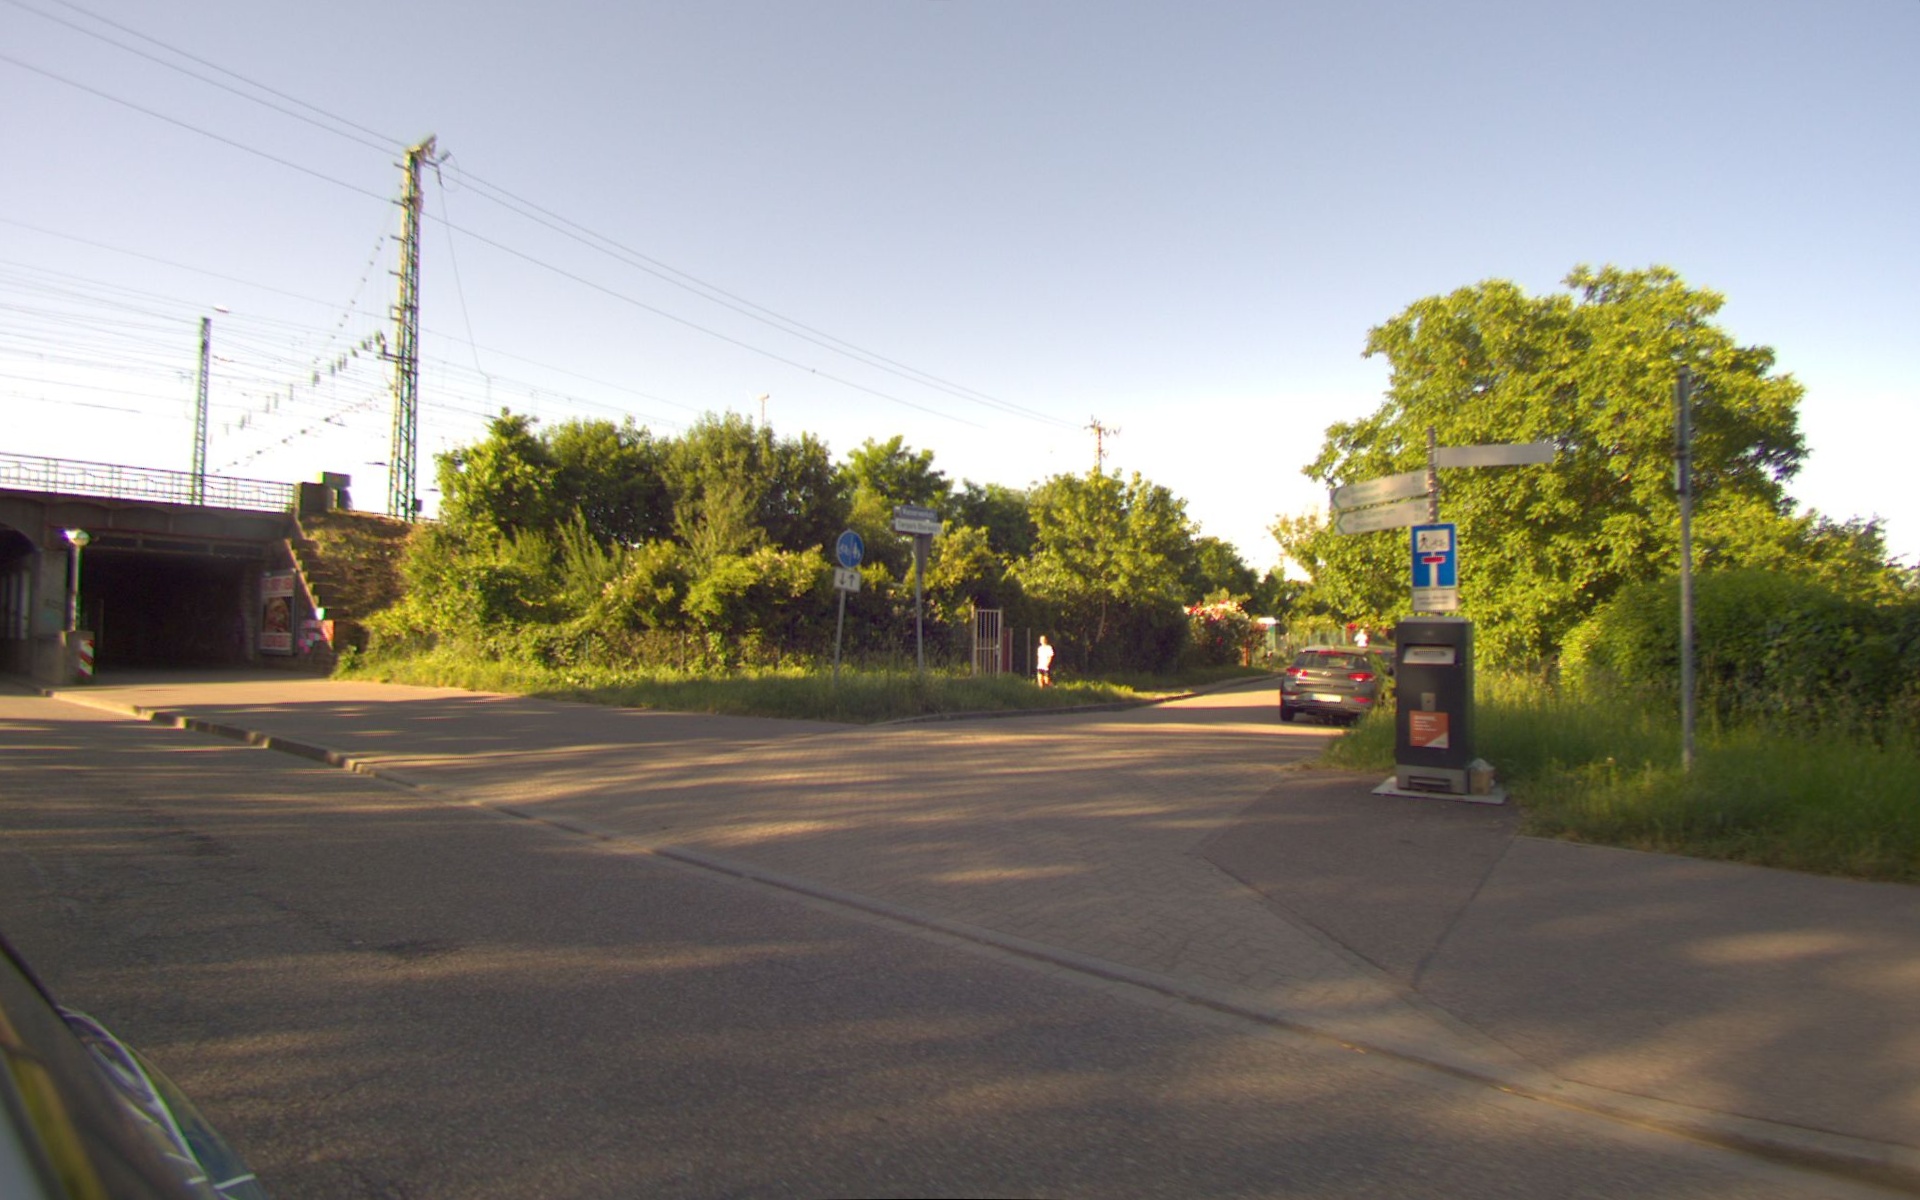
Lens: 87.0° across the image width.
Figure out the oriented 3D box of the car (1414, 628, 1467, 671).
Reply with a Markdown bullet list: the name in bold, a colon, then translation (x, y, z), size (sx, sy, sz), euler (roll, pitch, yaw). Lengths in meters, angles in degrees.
- **car**: translation (21.400, 2.172, 45.017), size (1.880, 1.758, 3.998), euler (2, -1, 28)

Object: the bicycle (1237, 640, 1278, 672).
- **bicycle**: translation (12.794, 2.389, 43.625), size (1.232, 1.204, 2.903), euler (0, 0, 7)

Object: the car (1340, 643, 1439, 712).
- **car**: translation (10.708, 1.833, 25.071), size (1.880, 1.459, 3.998), euler (2, -1, 28)

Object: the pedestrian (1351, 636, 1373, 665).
- **pedestrian**: translation (20.219, 2.533, 50.936), size (0.812, 1.415, 1.009), euler (1, -3, 32)

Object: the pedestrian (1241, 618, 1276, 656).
- **pedestrian**: translation (12.766, 1.558, 43.349), size (1.224, 1.585, 1.463), euler (0, 0, 8)

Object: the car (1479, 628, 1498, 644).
- **car**: translation (61.727, 4.175, 118.227), size (1.880, 1.758, 3.998), euler (2, -1, 28)

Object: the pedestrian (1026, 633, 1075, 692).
- **pedestrian**: translation (2.292, 1.582, 25.665), size (0.812, 1.415, 1.009), euler (1, -3, 32)

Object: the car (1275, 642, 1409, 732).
- **car**: translation (7.493, 1.586, 19.611), size (1.880, 1.459, 3.998), euler (2, -1, 28)

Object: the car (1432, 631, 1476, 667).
- **car**: translation (26.246, 2.574, 53.696), size (1.880, 1.758, 3.998), euler (2, -1, 28)
